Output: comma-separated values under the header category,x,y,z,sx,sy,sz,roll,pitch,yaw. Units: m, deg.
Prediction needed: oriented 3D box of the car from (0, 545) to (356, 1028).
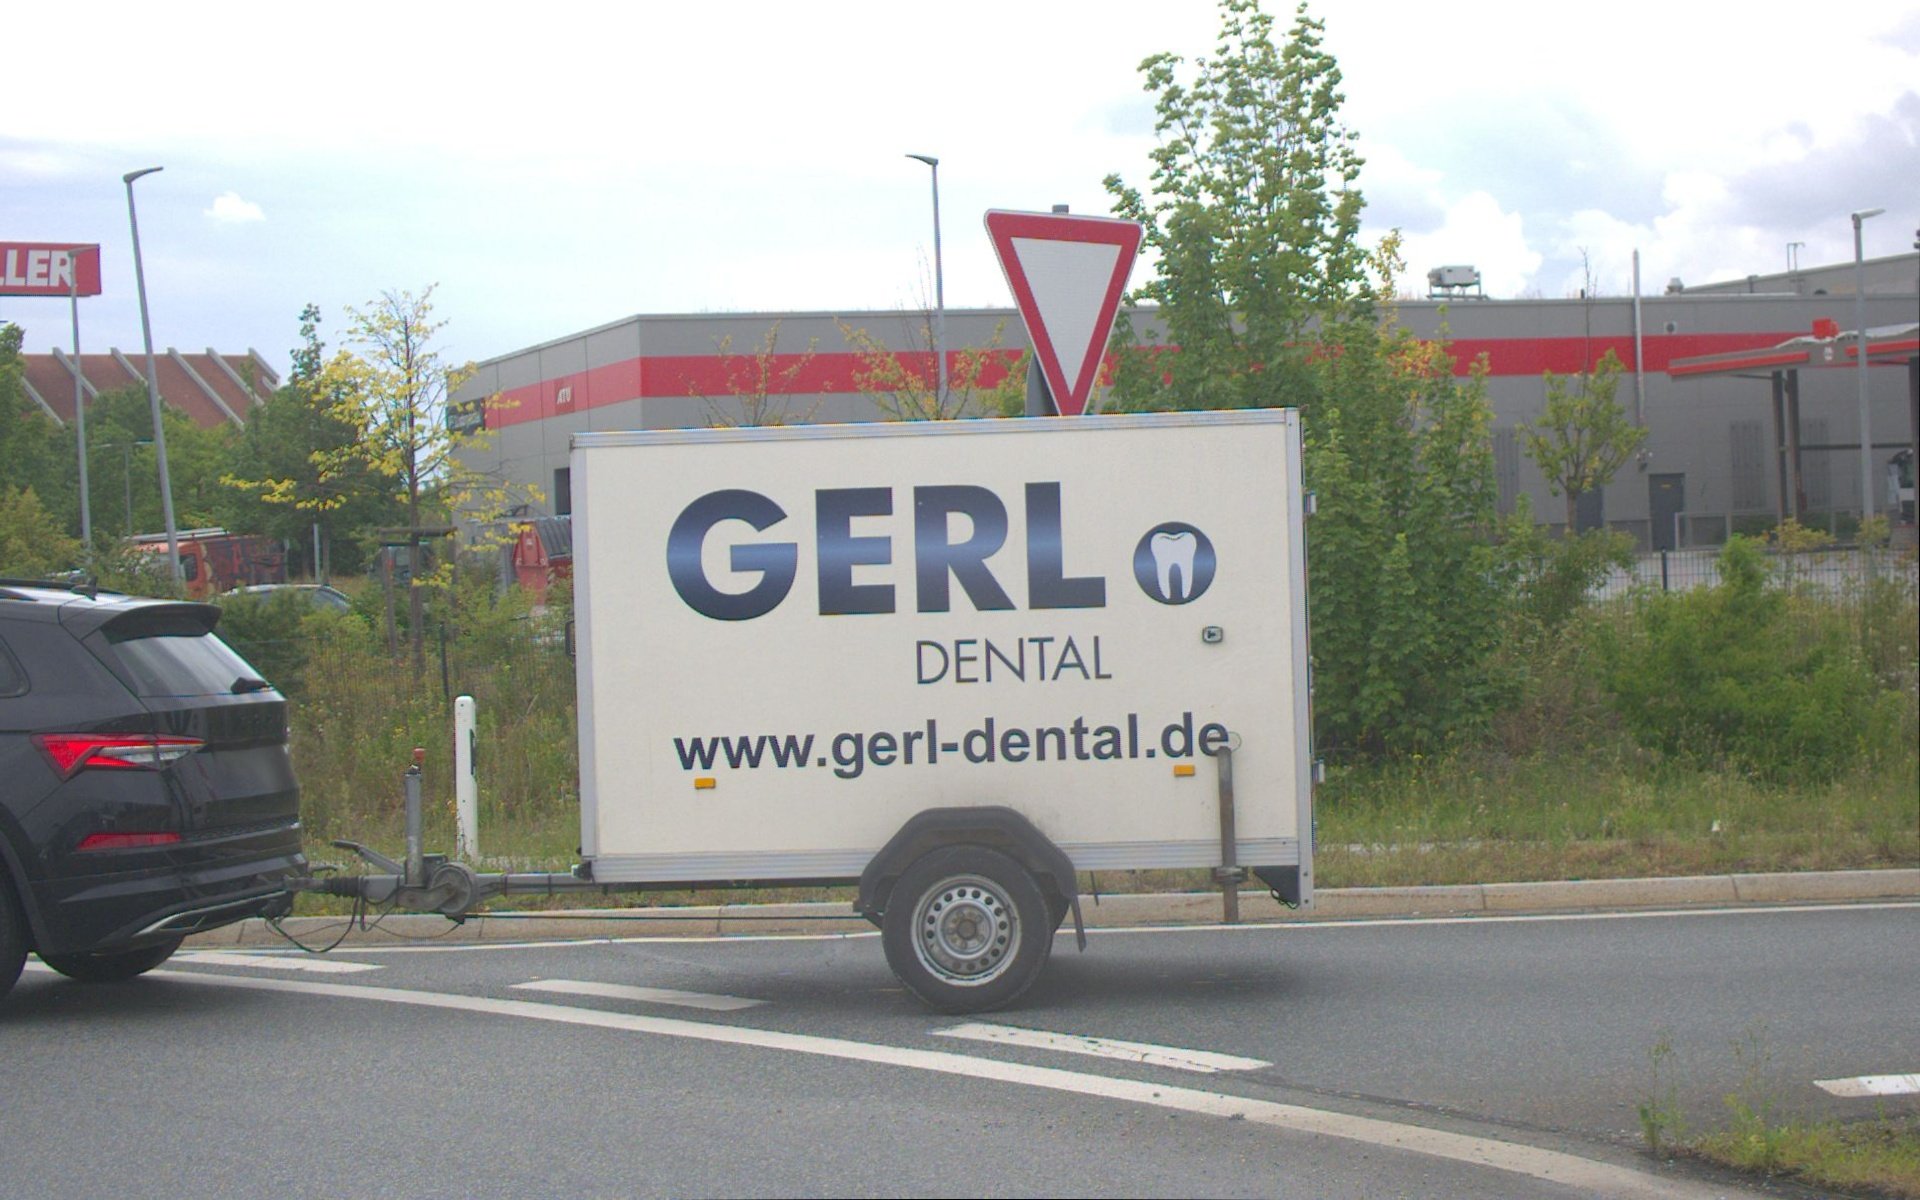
category,x,y,z,sx,sy,sz,roll,pitch,yaw
car,-4.882,0.703,13.341,4.602,1.664,1.816,-2,1,10

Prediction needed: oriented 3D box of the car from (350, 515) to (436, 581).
category,x,y,z,sx,sy,sz,roll,pitch,yaw
car,-17.207,-1.565,104.259,1.699,1.805,3.971,-5,2,-20

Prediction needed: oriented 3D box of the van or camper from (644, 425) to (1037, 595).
category,x,y,z,sx,sy,sz,roll,pitch,yaw
van or camper,-2.492,-1.908,72.099,7.712,3.167,2.493,-3,2,-19

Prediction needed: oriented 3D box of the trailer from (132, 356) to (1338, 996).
category,x,y,z,sx,sy,sz,roll,pitch,yaw
trailer,-0.734,0.276,12.756,4.133,2.084,1.812,-2,0,5
